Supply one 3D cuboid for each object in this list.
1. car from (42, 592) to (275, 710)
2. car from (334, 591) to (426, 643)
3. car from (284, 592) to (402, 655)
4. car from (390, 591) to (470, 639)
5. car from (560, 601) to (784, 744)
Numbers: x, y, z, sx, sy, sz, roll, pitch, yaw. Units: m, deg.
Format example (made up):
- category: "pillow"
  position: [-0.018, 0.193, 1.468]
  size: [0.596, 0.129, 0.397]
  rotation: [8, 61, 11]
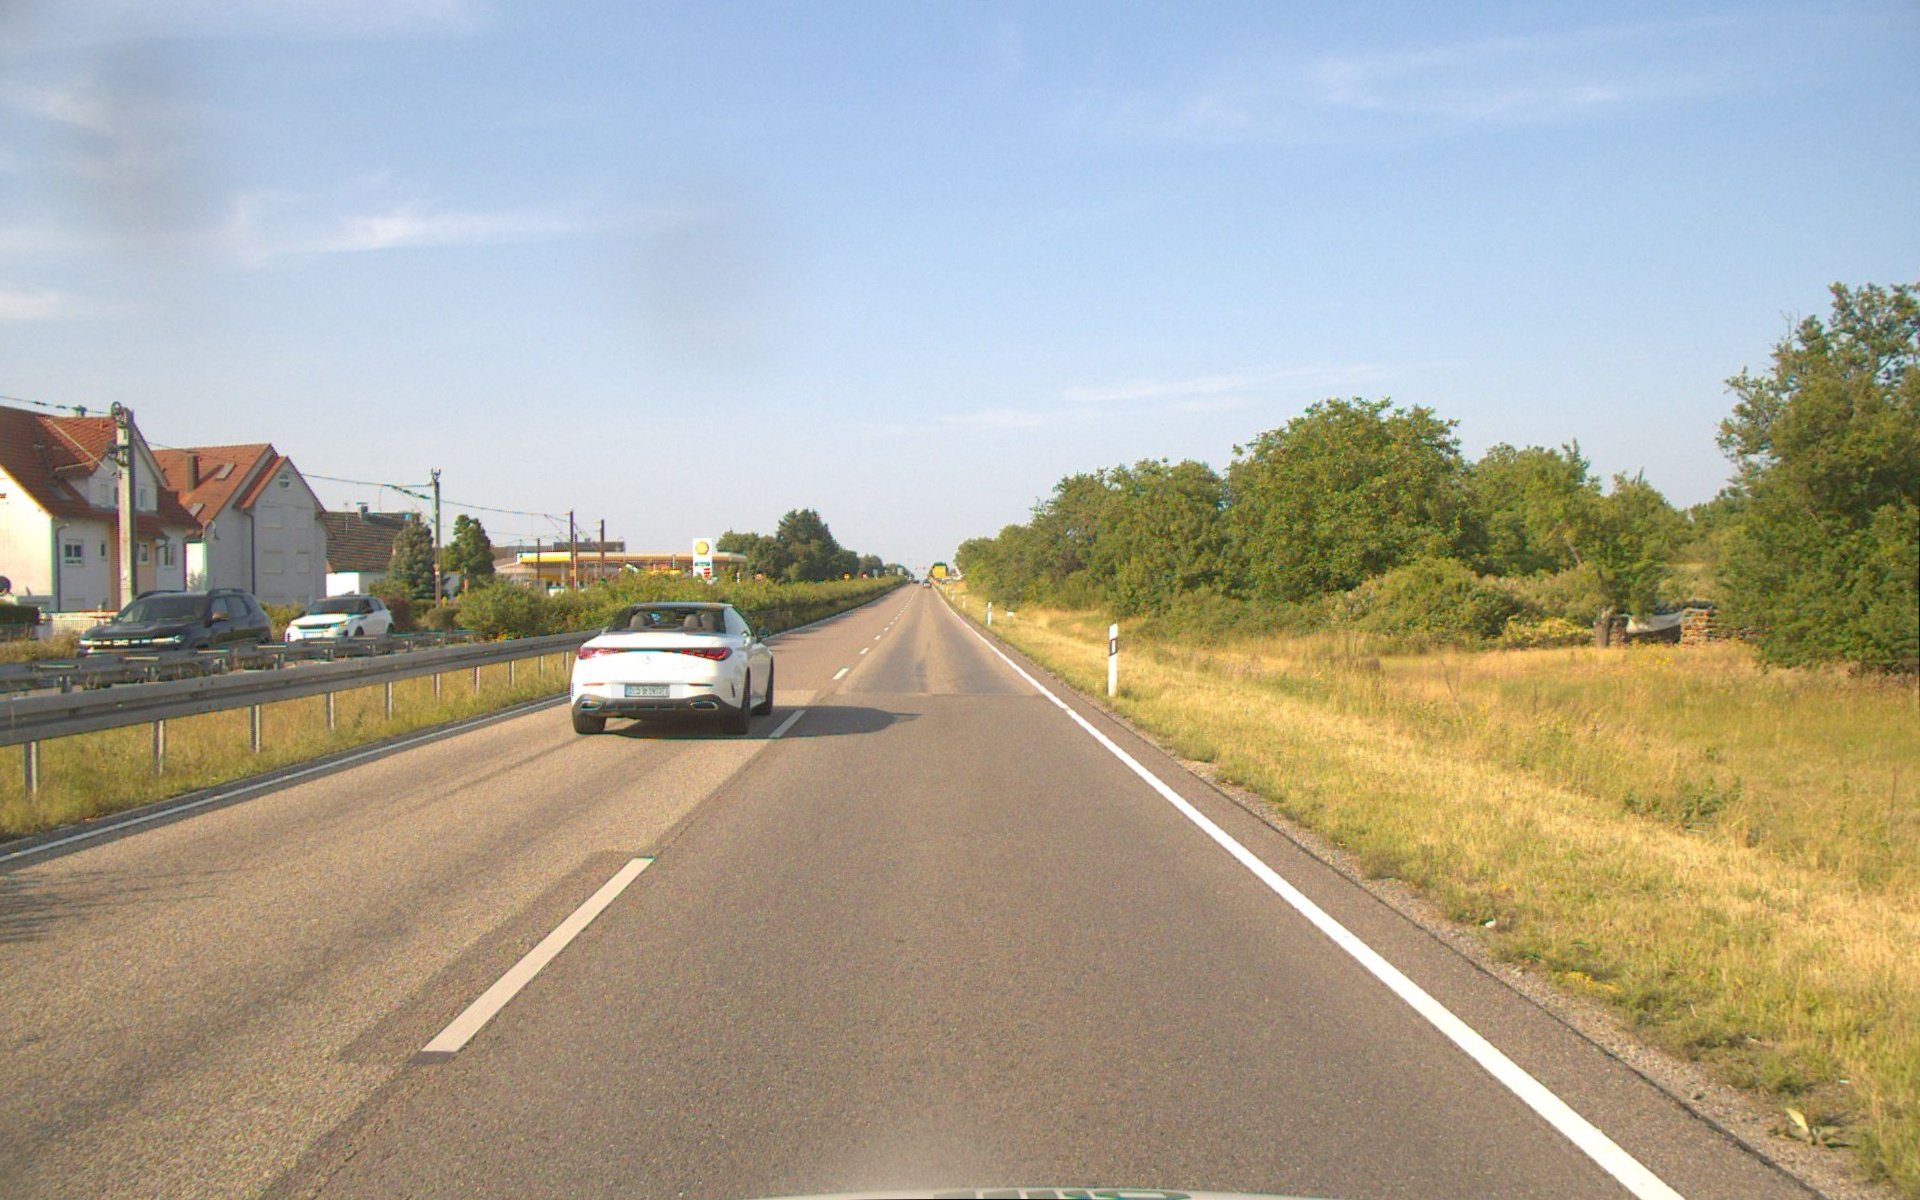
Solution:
- category: "car"
  position: [-12.834, 0.754, 26.804]
  size: [1.694, 1.662, 4.318]
  rotation: [-3, 0, -2]
- category: "car"
  position: [-20.781, 0.592, 59.441]
  size: [1.953, 1.780, 3.999]
  rotation: [1, 0, -2]
- category: "car"
  position: [-17.030, 0.608, 45.858]
  size: [1.680, 1.640, 4.445]
  rotation: [1, 0, -2]
- category: "car"
  position: [-20.925, 0.571, 65.424]
  size: [1.953, 1.780, 3.999]
  rotation: [1, 0, -2]
- category: "car"
  position: [-3.111, 0.717, 18.816]
  size: [1.735, 1.361, 4.949]
  rotation: [1, 0, -1]
